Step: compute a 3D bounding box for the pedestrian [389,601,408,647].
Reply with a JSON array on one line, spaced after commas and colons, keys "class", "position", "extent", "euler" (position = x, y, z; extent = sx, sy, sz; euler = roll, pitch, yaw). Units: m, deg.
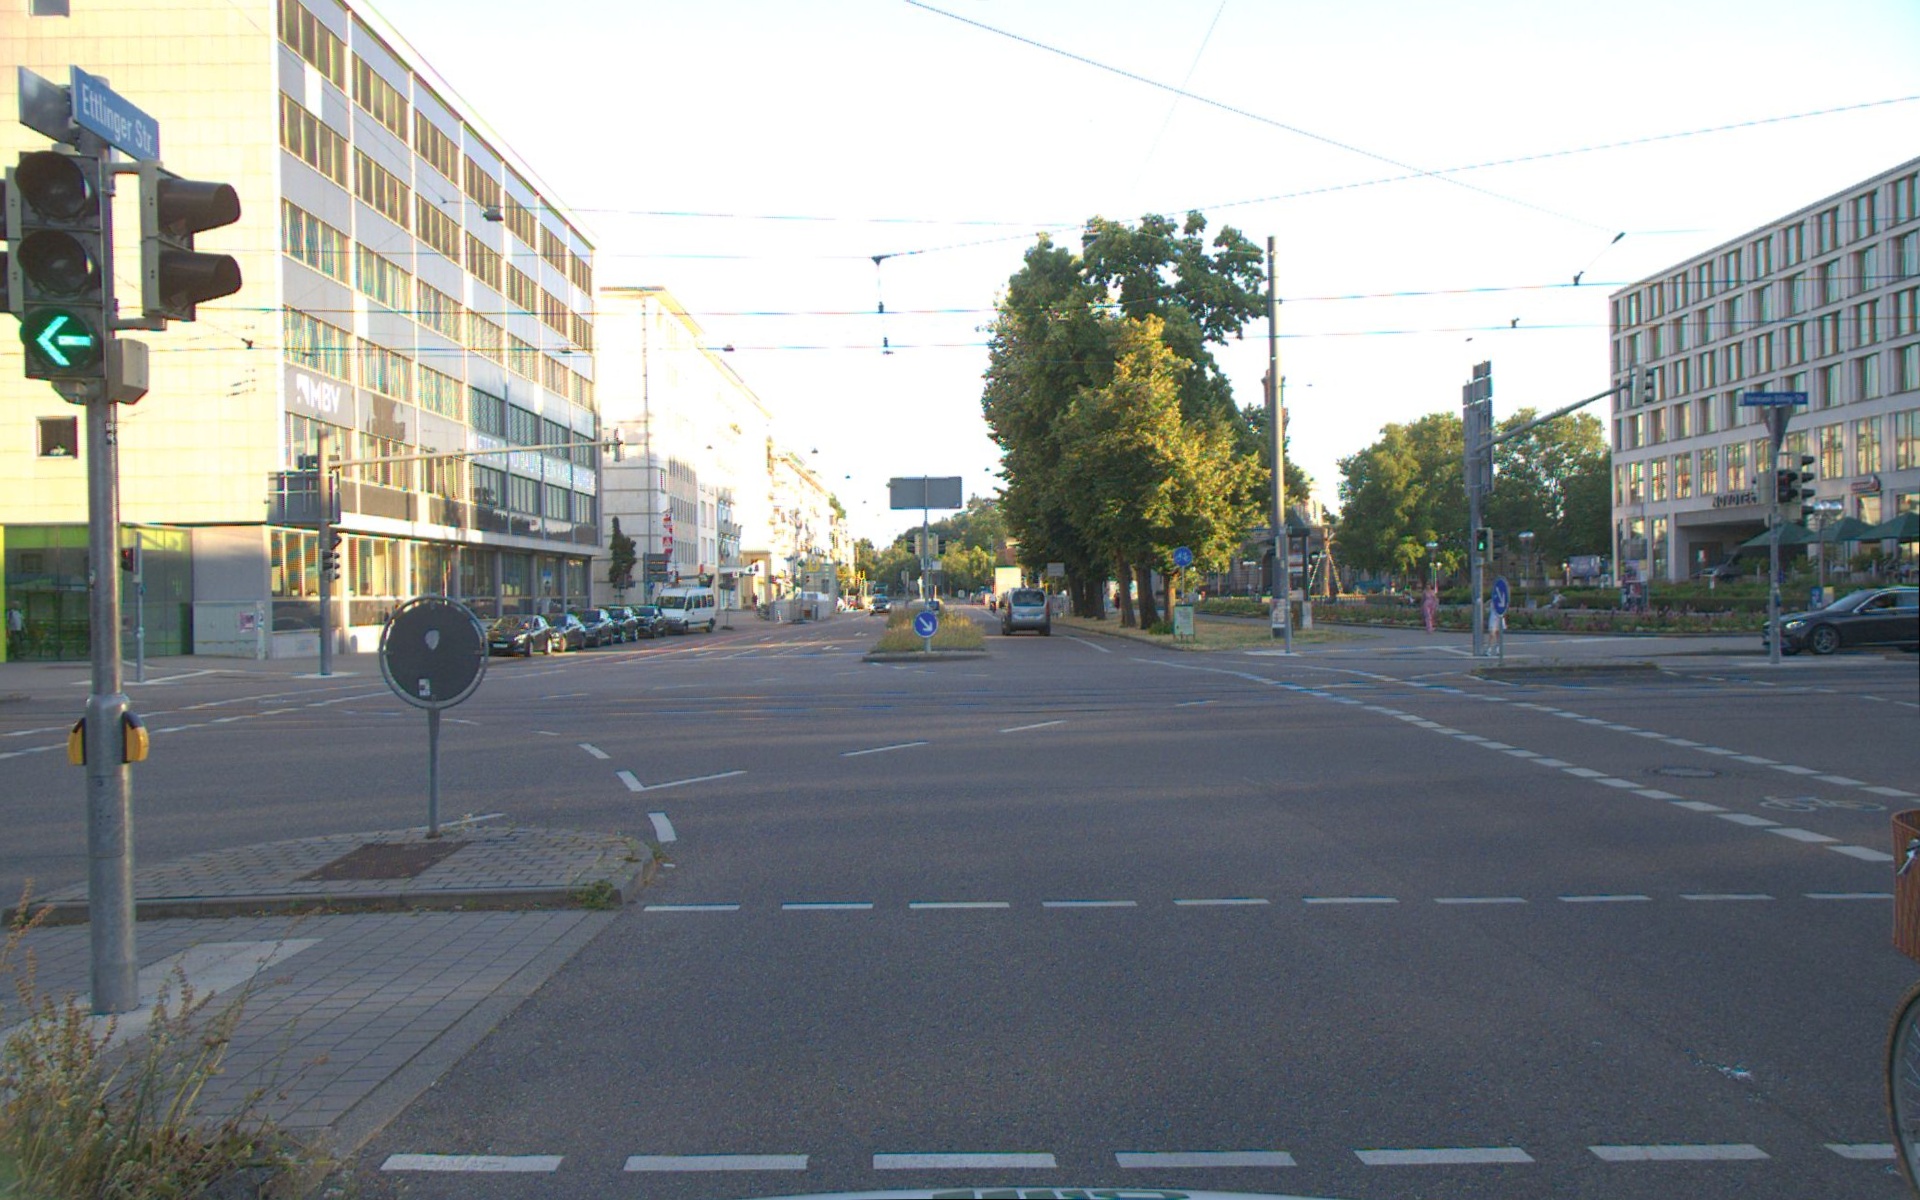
[{"class": "pedestrian", "position": [-21.213, 0.915, 62.486], "extent": [0.540, 1.708, 0.500], "euler": [-1, 0, -1]}]

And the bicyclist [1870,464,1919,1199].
[{"class": "bicyclist", "position": [2.256, 0.556, 3.056], "extent": [0.587, 1.665, 0.998], "euler": [0, 0, -1]}]

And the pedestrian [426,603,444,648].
[{"class": "pedestrian", "position": [-20.074, 0.969, 63.268], "extent": [0.490, 1.708, 0.500], "euler": [-1, 0, -1]}]

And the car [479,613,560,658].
[{"class": "car", "position": [-16.030, 1.254, 60.347], "extent": [1.882, 1.489, 4.102], "euler": [-1, 0, -1]}]

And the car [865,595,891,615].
[{"class": "car", "position": [-6.643, 0.393, 134.614], "extent": [1.825, 1.546, 4.000], "euler": [-1, 0, 0]}]

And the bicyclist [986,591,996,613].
[{"class": "bicyclist", "position": [2.416, 0.173, 128.652], "extent": [0.731, 1.692, 0.873], "euler": [-1, 0, -1]}]

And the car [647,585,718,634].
[{"class": "car", "position": [-14.989, 0.467, 89.635], "extent": [1.958, 2.521, 5.873], "euler": [-1, 0, 9]}]

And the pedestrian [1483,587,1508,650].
[{"class": "pedestrian", "position": [13.618, 0.469, 42.055], "extent": [0.480, 1.567, 0.408], "euler": [-1, 0, -1]}]

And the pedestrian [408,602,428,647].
[{"class": "pedestrian", "position": [-20.710, 0.929, 63.204], "extent": [0.540, 1.708, 0.500], "euler": [-1, 0, -1]}]

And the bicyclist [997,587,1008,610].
[{"class": "bicyclist", "position": [3.314, -0.109, 128.510], "extent": [0.731, 1.720, 0.799], "euler": [-1, 0, -1]}]

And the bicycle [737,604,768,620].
[{"class": "bicycle", "position": [-15.535, 0.931, 123.841], "extent": [2.161, 1.132, 0.618], "euler": [-1, 0, -3]}]

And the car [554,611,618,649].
[{"class": "car", "position": [-16.168, 1.273, 71.621], "extent": [1.882, 1.489, 3.999], "euler": [-1, 0, -1]}]

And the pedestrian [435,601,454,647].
[{"class": "pedestrian", "position": [-19.561, 0.903, 62.738], "extent": [0.540, 1.708, 0.500], "euler": [-1, 0, -1]}]

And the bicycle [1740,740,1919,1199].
[{"class": "bicycle", "position": [2.249, 0.927, 3.103], "extent": [0.599, 1.152, 2.004], "euler": [0, 0, -1]}]

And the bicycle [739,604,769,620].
[{"class": "bicycle", "position": [-15.551, 0.928, 125.098], "extent": [2.161, 1.132, 0.688], "euler": [-1, 0, -3]}]

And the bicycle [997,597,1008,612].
[{"class": "bicycle", "position": [3.324, 0.347, 128.765], "extent": [0.731, 1.164, 2.505], "euler": [-1, 0, -1]}]

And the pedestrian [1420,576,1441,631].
[{"class": "pedestrian", "position": [14.603, 0.093, 51.305], "extent": [0.451, 1.685, 0.566], "euler": [-1, 0, -1]}]

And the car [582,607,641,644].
[{"class": "car", "position": [-16.169, 1.161, 76.925], "extent": [1.882, 1.596, 3.999], "euler": [-1, 0, -1]}]

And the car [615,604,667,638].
[{"class": "car", "position": [-16.001, 1.034, 83.157], "extent": [1.882, 1.596, 3.999], "euler": [-1, 0, -1]}]

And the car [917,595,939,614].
[{"class": "car", "position": [-2.842, 0.393, 147.776], "extent": [1.825, 1.546, 4.000], "euler": [-1, 0, 0]}]

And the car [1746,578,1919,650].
[{"class": "car", "position": [21.196, 0.304, 38.597], "extent": [4.724, 1.542, 2.000], "euler": [-1, 0, 1]}]

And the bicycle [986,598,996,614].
[{"class": "bicycle", "position": [2.414, 0.463, 129.238], "extent": [0.731, 1.164, 2.505], "euler": [-1, 0, -1]}]

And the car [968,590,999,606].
[{"class": "car", "position": [3.045, -0.231, 215.788], "extent": [3.909, 2.049, 1.998], "euler": [-1, 0, -5]}]

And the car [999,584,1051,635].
[{"class": "car", "position": [2.574, 0.370, 66.091], "extent": [1.727, 1.921, 4.498], "euler": [-1, 0, -2]}]

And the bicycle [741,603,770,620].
[{"class": "bicycle", "position": [-15.665, 0.878, 126.820], "extent": [2.161, 1.258, 0.839], "euler": [-1, 0, -3]}]

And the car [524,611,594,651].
[{"class": "car", "position": [-16.144, 1.237, 66.807], "extent": [1.882, 1.489, 3.999], "euler": [-1, 0, -1]}]

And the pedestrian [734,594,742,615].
[{"class": "pedestrian", "position": [-21.871, 0.396, 163.070], "extent": [0.666, 2.049, 0.545], "euler": [-1, 0, -1]}]
